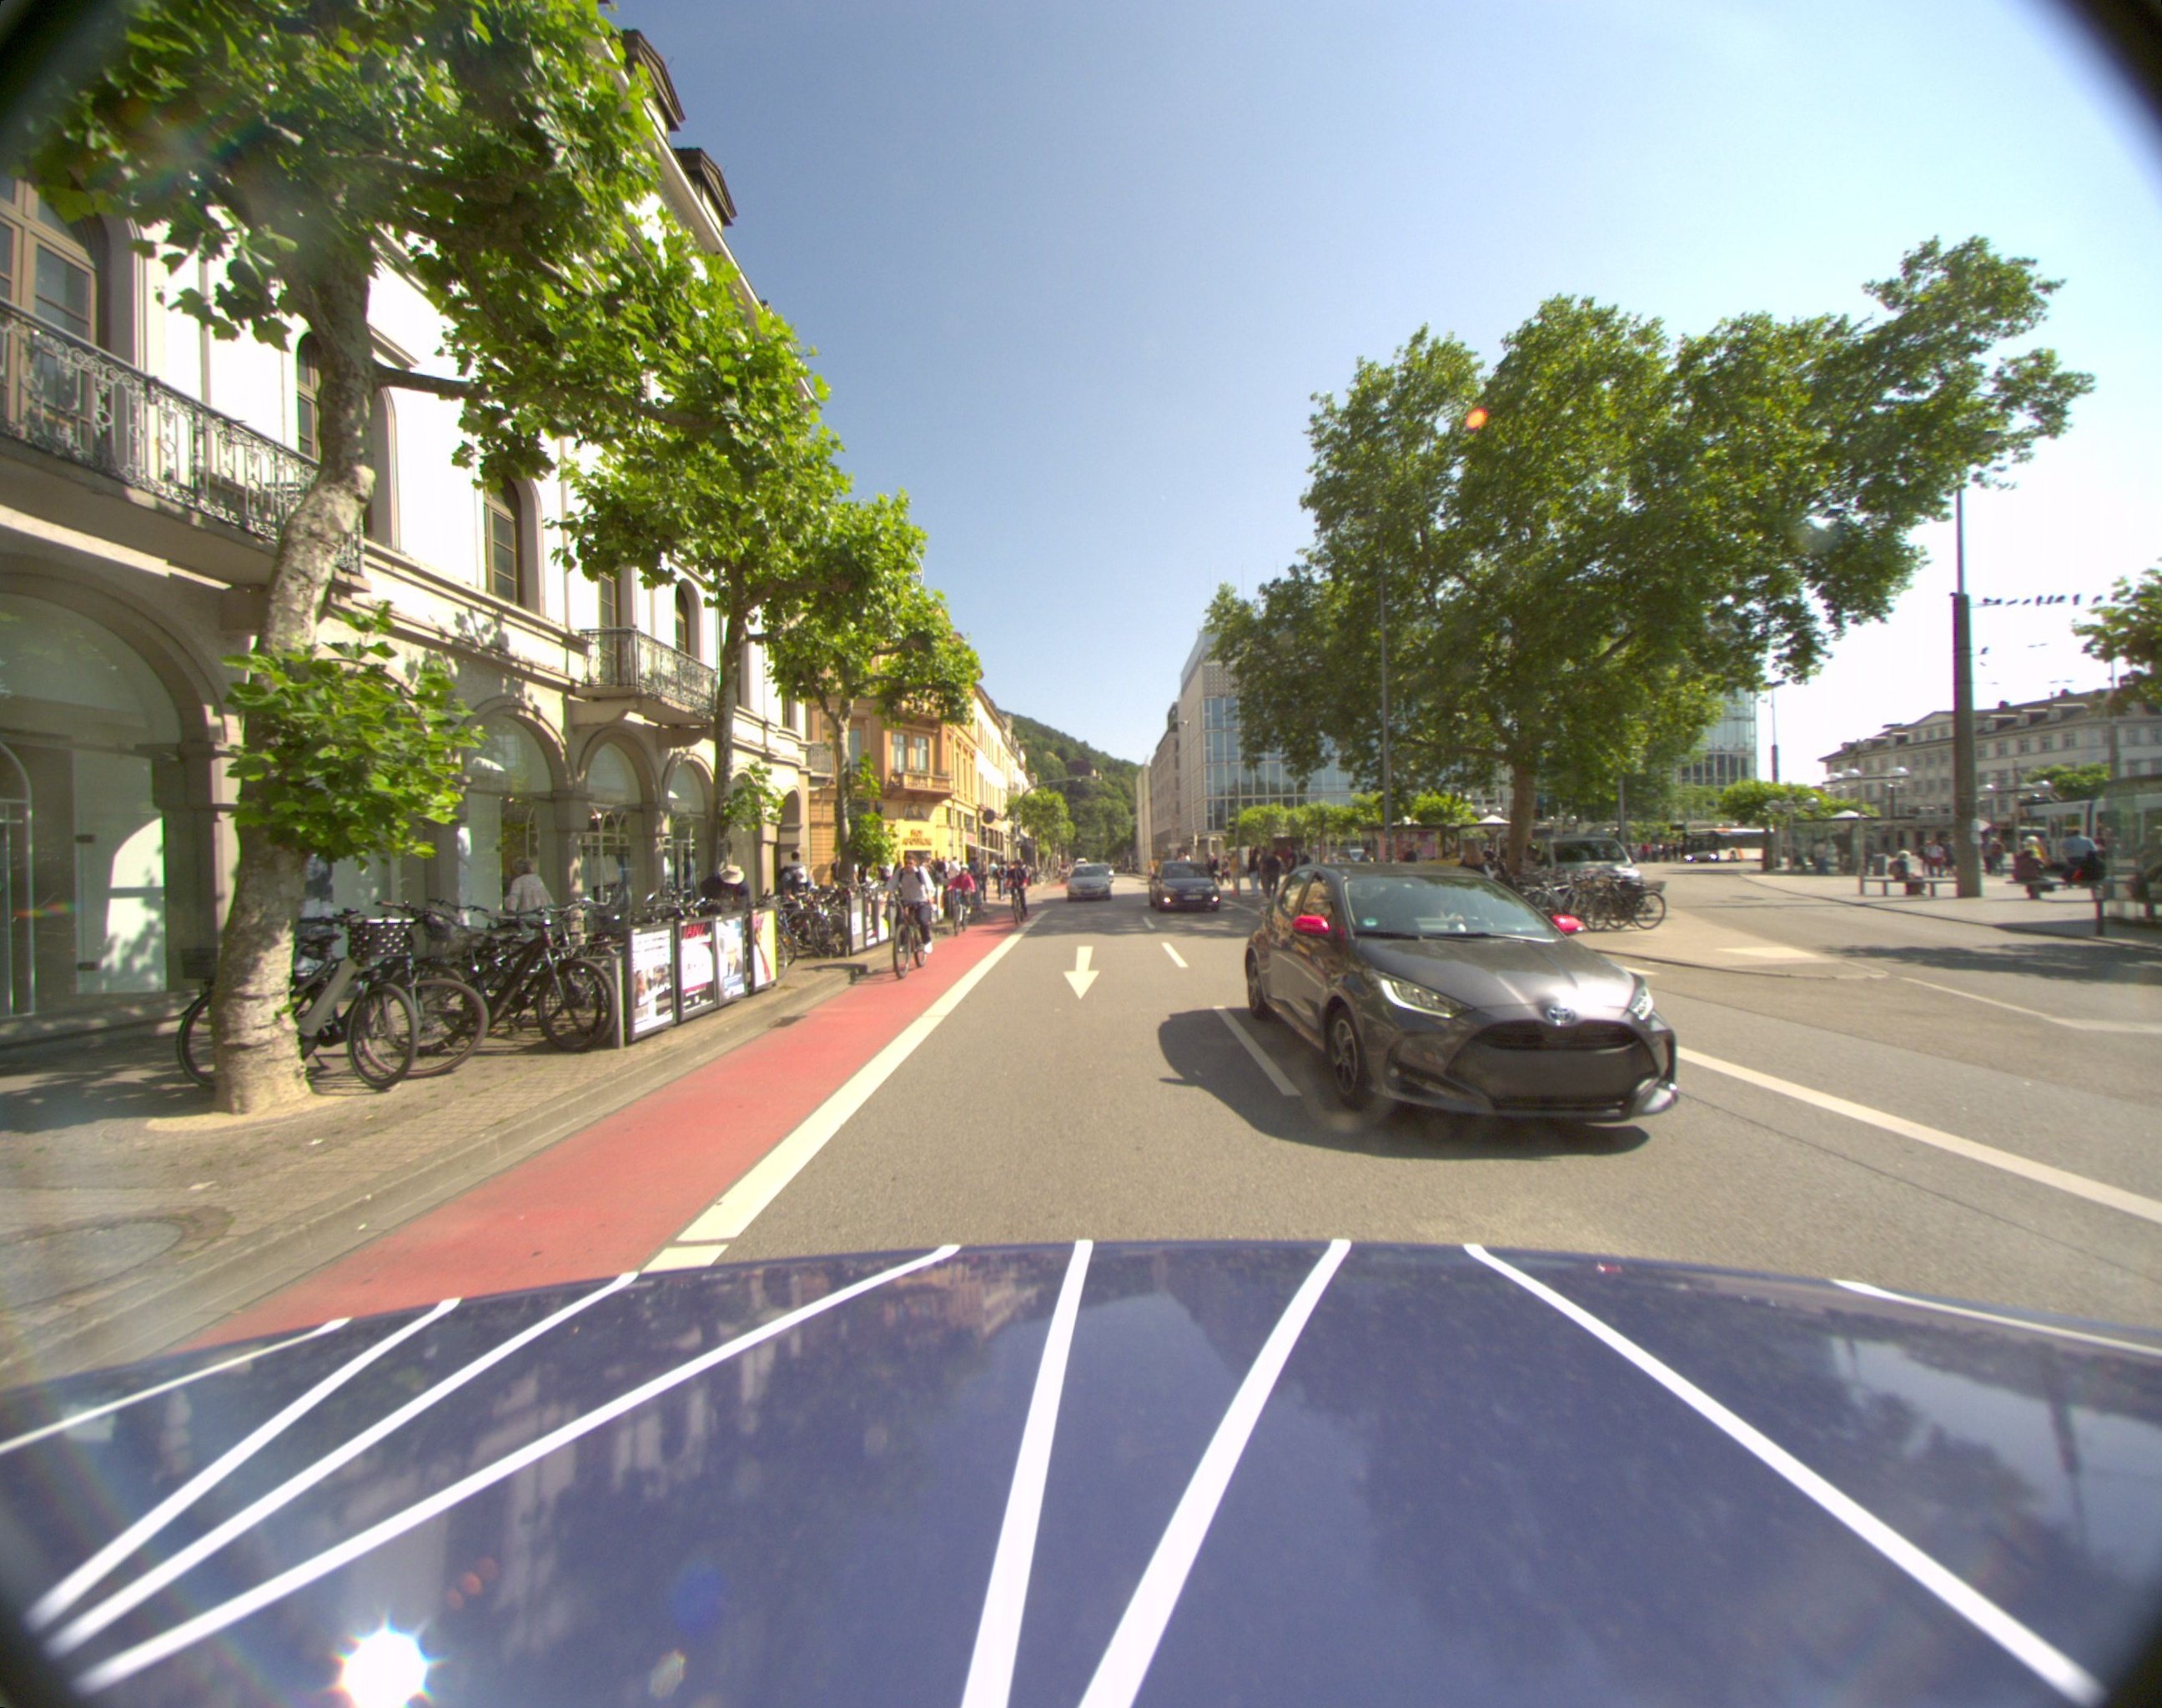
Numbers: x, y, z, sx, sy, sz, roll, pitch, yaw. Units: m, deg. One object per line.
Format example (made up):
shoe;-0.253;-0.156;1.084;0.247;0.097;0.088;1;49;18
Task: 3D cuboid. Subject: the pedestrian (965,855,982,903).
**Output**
pedestrian;-4.064;0.932;28.725;0.578;1.774;0.699;0;0;-2

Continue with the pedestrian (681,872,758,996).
pedestrian;-4.733;1.017;9.978;0.606;1.529;0.667;-3;1;-1

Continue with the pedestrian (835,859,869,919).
pedestrian;-6.956;1.045;23.095;0.721;1.772;0.776;-3;1;-1

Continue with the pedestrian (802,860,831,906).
pedestrian;-9.979;1.087;28.689;0.798;1.638;0.622;-3;1;1

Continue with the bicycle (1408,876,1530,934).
bicycle;8.044;1.015;15.940;0.831;1.017;2.624;-3;0;-10

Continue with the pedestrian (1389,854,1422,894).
pedestrian;11.780;0.716;27.610;0.752;1.399;0.782;-3;0;-9

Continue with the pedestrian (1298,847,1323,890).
pedestrian;9.557;0.586;31.713;0.751;1.737;0.667;-3;1;-1

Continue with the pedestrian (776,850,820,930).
pedestrian;-6.583;0.817;17.694;0.635;1.782;0.776;-3;1;-1

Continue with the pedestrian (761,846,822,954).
pedestrian;-5.261;0.817;13.842;0.702;1.891;0.776;-3;1;-1

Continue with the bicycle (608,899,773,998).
bicycle;-4.958;1.193;9.718;1.757;1.140;0.592;-2;0;-1

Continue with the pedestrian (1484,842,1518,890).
pedestrian;15.730;0.458;28.467;0.752;1.737;0.782;-3;1;-9

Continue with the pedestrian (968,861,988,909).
pedestrian;-3.716;1.102;27.510;0.578;1.675;0.622;-3;1;-2

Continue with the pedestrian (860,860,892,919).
pedestrian;-6.227;1.073;23.080;0.676;1.730;0.754;-3;1;-1

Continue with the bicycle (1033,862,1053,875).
bicycle;-3.449;1.322;68.914;1.757;1.140;0.592;-2;0;-1

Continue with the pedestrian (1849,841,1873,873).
pedestrian;37.334;0.143;36.390;0.554;1.464;0.532;-3;1;8

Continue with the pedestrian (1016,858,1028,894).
pedestrian;-3.148;1.164;40.503;0.578;1.863;0.680;1;0;-11

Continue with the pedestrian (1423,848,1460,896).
pedestrian;12.390;0.627;26.125;0.752;1.587;0.782;-3;0;-9

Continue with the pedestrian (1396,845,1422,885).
pedestrian;14.808;0.480;34.314;0.751;1.737;0.782;-3;1;-1

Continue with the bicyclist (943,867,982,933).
bicyclist;-2.628;1.008;16.894;0.690;1.388;0.778;-3;0;-1

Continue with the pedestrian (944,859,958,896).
pedestrian;-6.345;1.129;37.042;0.578;1.804;0.605;1;1;-3

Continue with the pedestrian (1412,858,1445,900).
pedestrian;12.265;0.872;26.853;0.752;1.416;0.673;-3;0;-9

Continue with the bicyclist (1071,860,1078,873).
bicyclist;-0.683;1.302;80.602;0.736;1.376;0.734;-3;0;1

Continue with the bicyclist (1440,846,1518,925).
bicyclist;8.096;0.620;15.500;0.831;1.489;1.160;-3;0;-9

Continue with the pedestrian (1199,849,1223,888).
pedestrian;5.999;0.667;35.053;0.876;1.737;0.733;-3;1;-1

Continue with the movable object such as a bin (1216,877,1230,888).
movable object such as a bin;7.910;1.590;42.385;0.662;0.577;0.528;-3;0;-1

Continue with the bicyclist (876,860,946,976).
bicyclist;-2.438;0.894;10.966;0.750;1.567;0.778;-3;0;0

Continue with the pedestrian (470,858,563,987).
pedestrian;-7.763;0.912;10.474;0.658;1.686;0.676;-3;1;2

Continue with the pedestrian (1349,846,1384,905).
pedestrian;8.303;0.621;22.123;0.643;1.681;0.642;-3;1;-13

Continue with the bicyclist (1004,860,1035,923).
bicyclist;-1.591;0.957;19.749;0.690;1.567;0.778;-3;0;-2

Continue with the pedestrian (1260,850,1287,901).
pedestrian;6.360;0.701;25.133;0.630;1.639;0.753;-3;1;27

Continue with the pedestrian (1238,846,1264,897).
pedestrian;6.064;0.610;27.093;0.537;1.773;0.745;-3;1;35

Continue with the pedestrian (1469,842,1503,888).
pedestrian;15.650;0.416;29.367;0.752;1.737;0.782;-3;1;-9

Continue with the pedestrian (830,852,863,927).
pedestrian;-6.002;0.900;19.457;0.546;1.871;0.602;-3;1;-1

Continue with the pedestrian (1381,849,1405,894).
pedestrian;12.272;0.680;29.874;0.750;1.737;0.784;-3;1;27

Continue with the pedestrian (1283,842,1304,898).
pedestrian;7.133;0.542;25.520;0.517;1.825;0.716;-3;1;8

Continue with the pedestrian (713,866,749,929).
pedestrian;-10.048;1.249;21.800;0.620;1.754;0.608;-3;1;35

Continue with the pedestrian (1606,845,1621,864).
pedestrian;41.822;0.022;59.647;0.555;1.464;0.758;-3;0;0

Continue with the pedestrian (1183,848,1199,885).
pedestrian;5.843;0.655;40.371;0.639;1.902;0.733;-3;1;-1

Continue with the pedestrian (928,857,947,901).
pedestrian;-6.082;1.060;32.311;0.578;1.834;0.622;-3;1;1

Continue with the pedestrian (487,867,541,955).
pedestrian;-10.246;1.016;13.736;0.504;1.524;0.538;-3;1;-6

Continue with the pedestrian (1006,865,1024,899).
pedestrian;-3.022;1.269;34.630;0.672;1.488;0.637;-2;1;-13

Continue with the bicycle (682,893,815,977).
bicycle;-4.942;1.192;11.339;1.707;1.140;0.519;-2;0;-1

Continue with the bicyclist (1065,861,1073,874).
bicyclist;-1.174;1.326;75.410;0.726;1.271;0.715;-3;0;1

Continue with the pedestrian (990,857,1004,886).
pedestrian;-5.304;1.092;47.929;0.758;1.782;0.859;-1;0;-11

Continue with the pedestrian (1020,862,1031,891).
pedestrian;-3.142;1.264;43.060;0.531;1.586;0.588;0;1;-11

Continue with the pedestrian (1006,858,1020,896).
pedestrian;-3.161;1.077;35.387;0.578;1.719;0.718;1;-2;-7

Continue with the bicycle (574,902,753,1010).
bicycle;-4.920;1.190;9.023;1.757;1.140;0.592;-2;0;-1

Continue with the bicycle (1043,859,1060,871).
bicycle;-3.049;1.164;79.491;1.757;1.140;0.592;-2;0;-1

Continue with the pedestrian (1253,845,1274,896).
pedestrian;6.765;0.606;28.157;0.595;1.835;0.738;0;0;-1

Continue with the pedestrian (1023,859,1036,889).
pedestrian;-3.133;1.212;45.898;0.651;1.770;0.621;0;2;-17

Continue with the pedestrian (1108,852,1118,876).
pedestrian;2.388;0.774;57.381;0.699;1.774;0.578;0;0;-5

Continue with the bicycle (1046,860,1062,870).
bicycle;-3.059;1.224;85.698;1.757;1.140;0.592;-2;0;-1

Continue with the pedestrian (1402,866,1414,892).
pedestrian;12.445;0.964;28.939;0.339;0.961;0.282;-3;1;31

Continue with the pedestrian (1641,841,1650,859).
pedestrian;47.910;-0.315;64.483;0.554;1.464;0.759;-3;1;37

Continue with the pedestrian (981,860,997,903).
pedestrian;-3.629;1.067;30.045;0.578;1.674;0.669;0;0;-2

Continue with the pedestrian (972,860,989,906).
pedestrian;-3.693;1.075;28.071;0.569;1.674;0.591;0;0;-2

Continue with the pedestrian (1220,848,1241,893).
pedestrian;6.022;0.656;30.588;0.612;1.737;0.752;-2;0;-1

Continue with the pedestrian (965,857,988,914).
pedestrian;-3.431;1.017;25.074;0.578;1.835;0.717;-3;1;-2

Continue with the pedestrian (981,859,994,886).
pedestrian;-5.888;1.135;47.742;0.688;1.674;0.578;-2;0;-14
